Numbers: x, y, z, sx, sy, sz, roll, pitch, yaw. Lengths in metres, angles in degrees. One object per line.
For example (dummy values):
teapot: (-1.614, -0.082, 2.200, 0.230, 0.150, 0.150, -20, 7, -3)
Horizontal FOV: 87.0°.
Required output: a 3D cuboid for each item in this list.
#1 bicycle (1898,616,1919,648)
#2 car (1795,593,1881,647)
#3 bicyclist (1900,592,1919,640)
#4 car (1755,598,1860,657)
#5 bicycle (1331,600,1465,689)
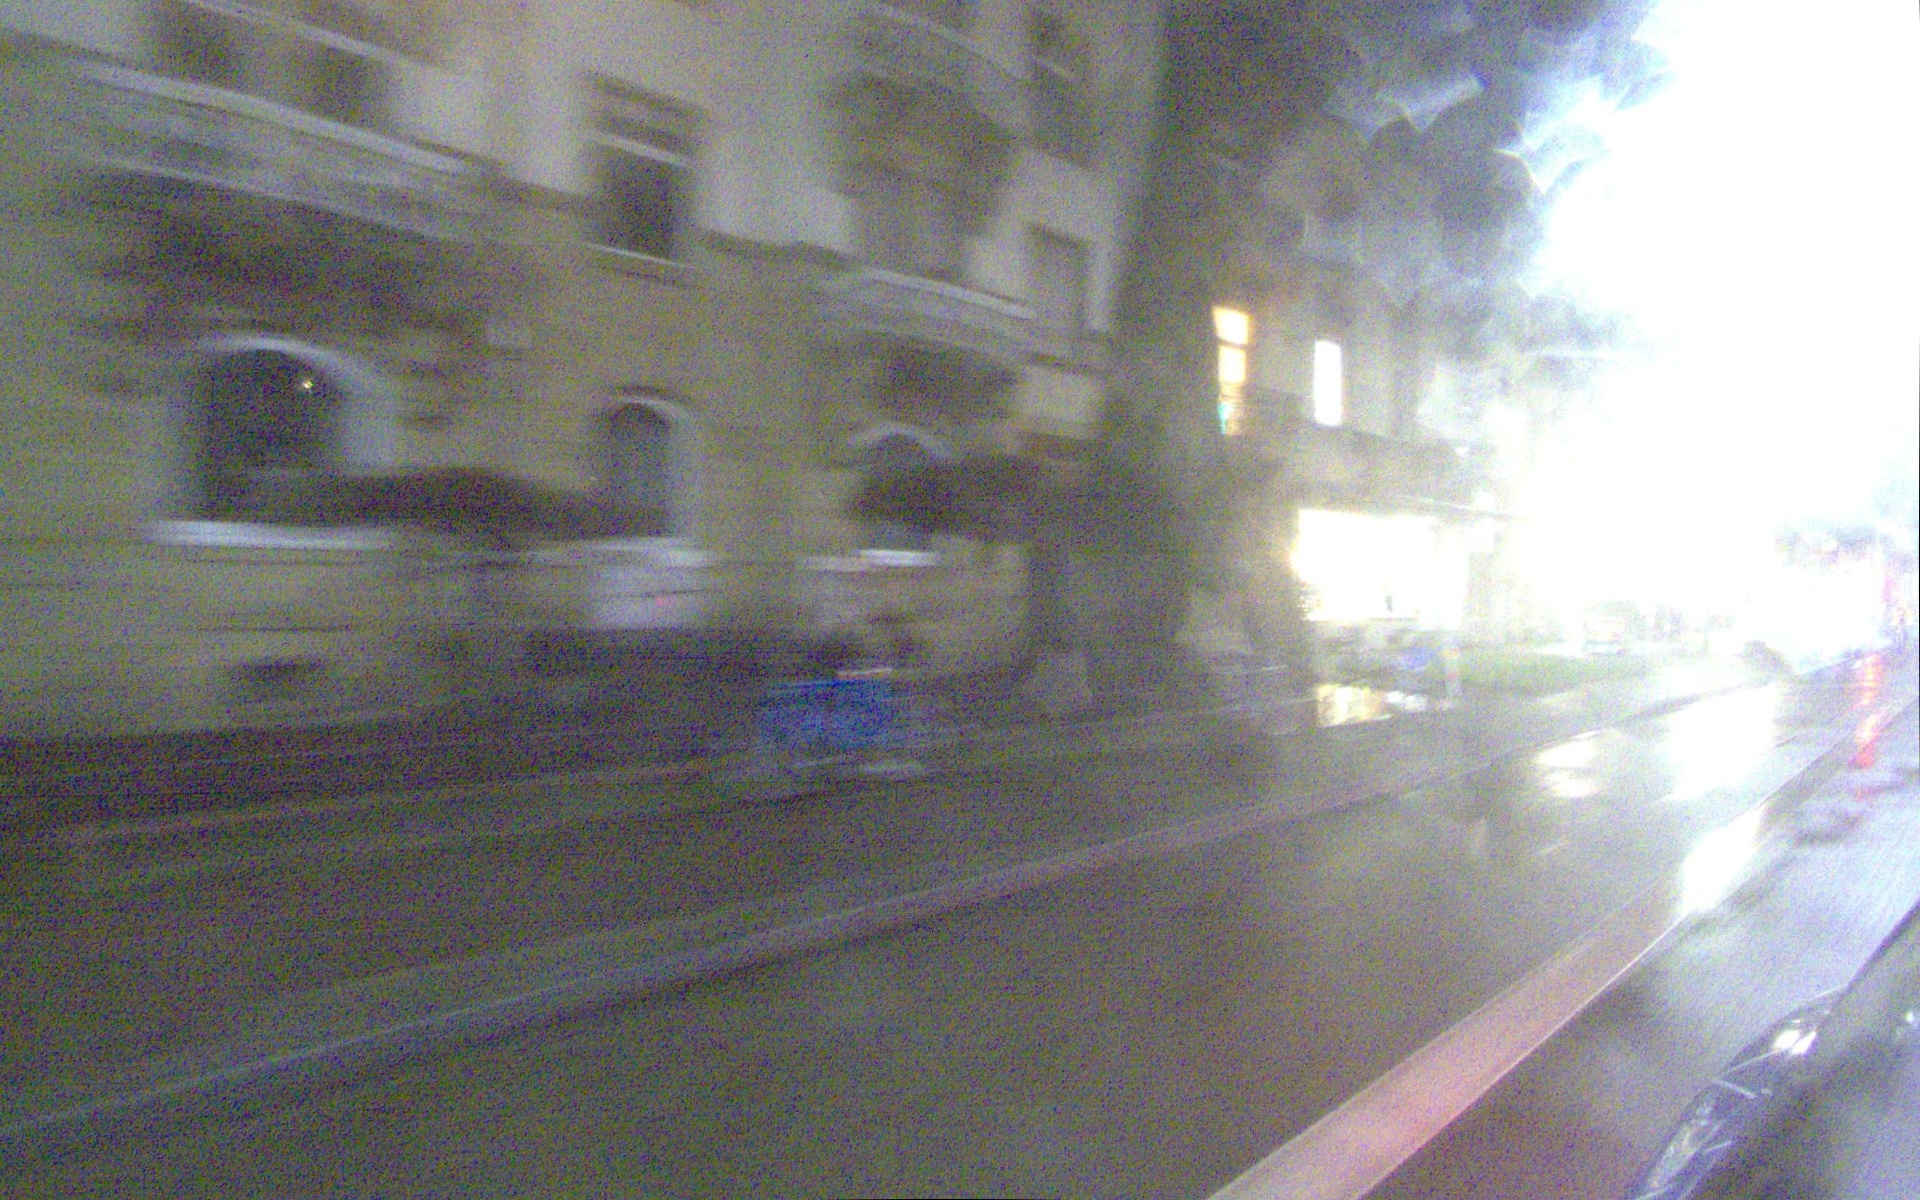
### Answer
bicycle: (31.729, 1.048, 33.603, 0.568, 0.982, 1.759, -3, -1, 34)
car: (28.134, 0.585, 32.388, 3.520, 1.543, 1.650, 0, 4, -43)
bicyclist: (31.696, 0.532, 33.583, 0.568, 1.568, 0.806, -3, -2, 34)
car: (24.261, 0.736, 28.931, 3.985, 1.459, 1.649, 0, 4, -41)
bicycle: (6.651, 0.642, 15.443, 0.484, 1.178, 1.817, -1, 3, -41)
